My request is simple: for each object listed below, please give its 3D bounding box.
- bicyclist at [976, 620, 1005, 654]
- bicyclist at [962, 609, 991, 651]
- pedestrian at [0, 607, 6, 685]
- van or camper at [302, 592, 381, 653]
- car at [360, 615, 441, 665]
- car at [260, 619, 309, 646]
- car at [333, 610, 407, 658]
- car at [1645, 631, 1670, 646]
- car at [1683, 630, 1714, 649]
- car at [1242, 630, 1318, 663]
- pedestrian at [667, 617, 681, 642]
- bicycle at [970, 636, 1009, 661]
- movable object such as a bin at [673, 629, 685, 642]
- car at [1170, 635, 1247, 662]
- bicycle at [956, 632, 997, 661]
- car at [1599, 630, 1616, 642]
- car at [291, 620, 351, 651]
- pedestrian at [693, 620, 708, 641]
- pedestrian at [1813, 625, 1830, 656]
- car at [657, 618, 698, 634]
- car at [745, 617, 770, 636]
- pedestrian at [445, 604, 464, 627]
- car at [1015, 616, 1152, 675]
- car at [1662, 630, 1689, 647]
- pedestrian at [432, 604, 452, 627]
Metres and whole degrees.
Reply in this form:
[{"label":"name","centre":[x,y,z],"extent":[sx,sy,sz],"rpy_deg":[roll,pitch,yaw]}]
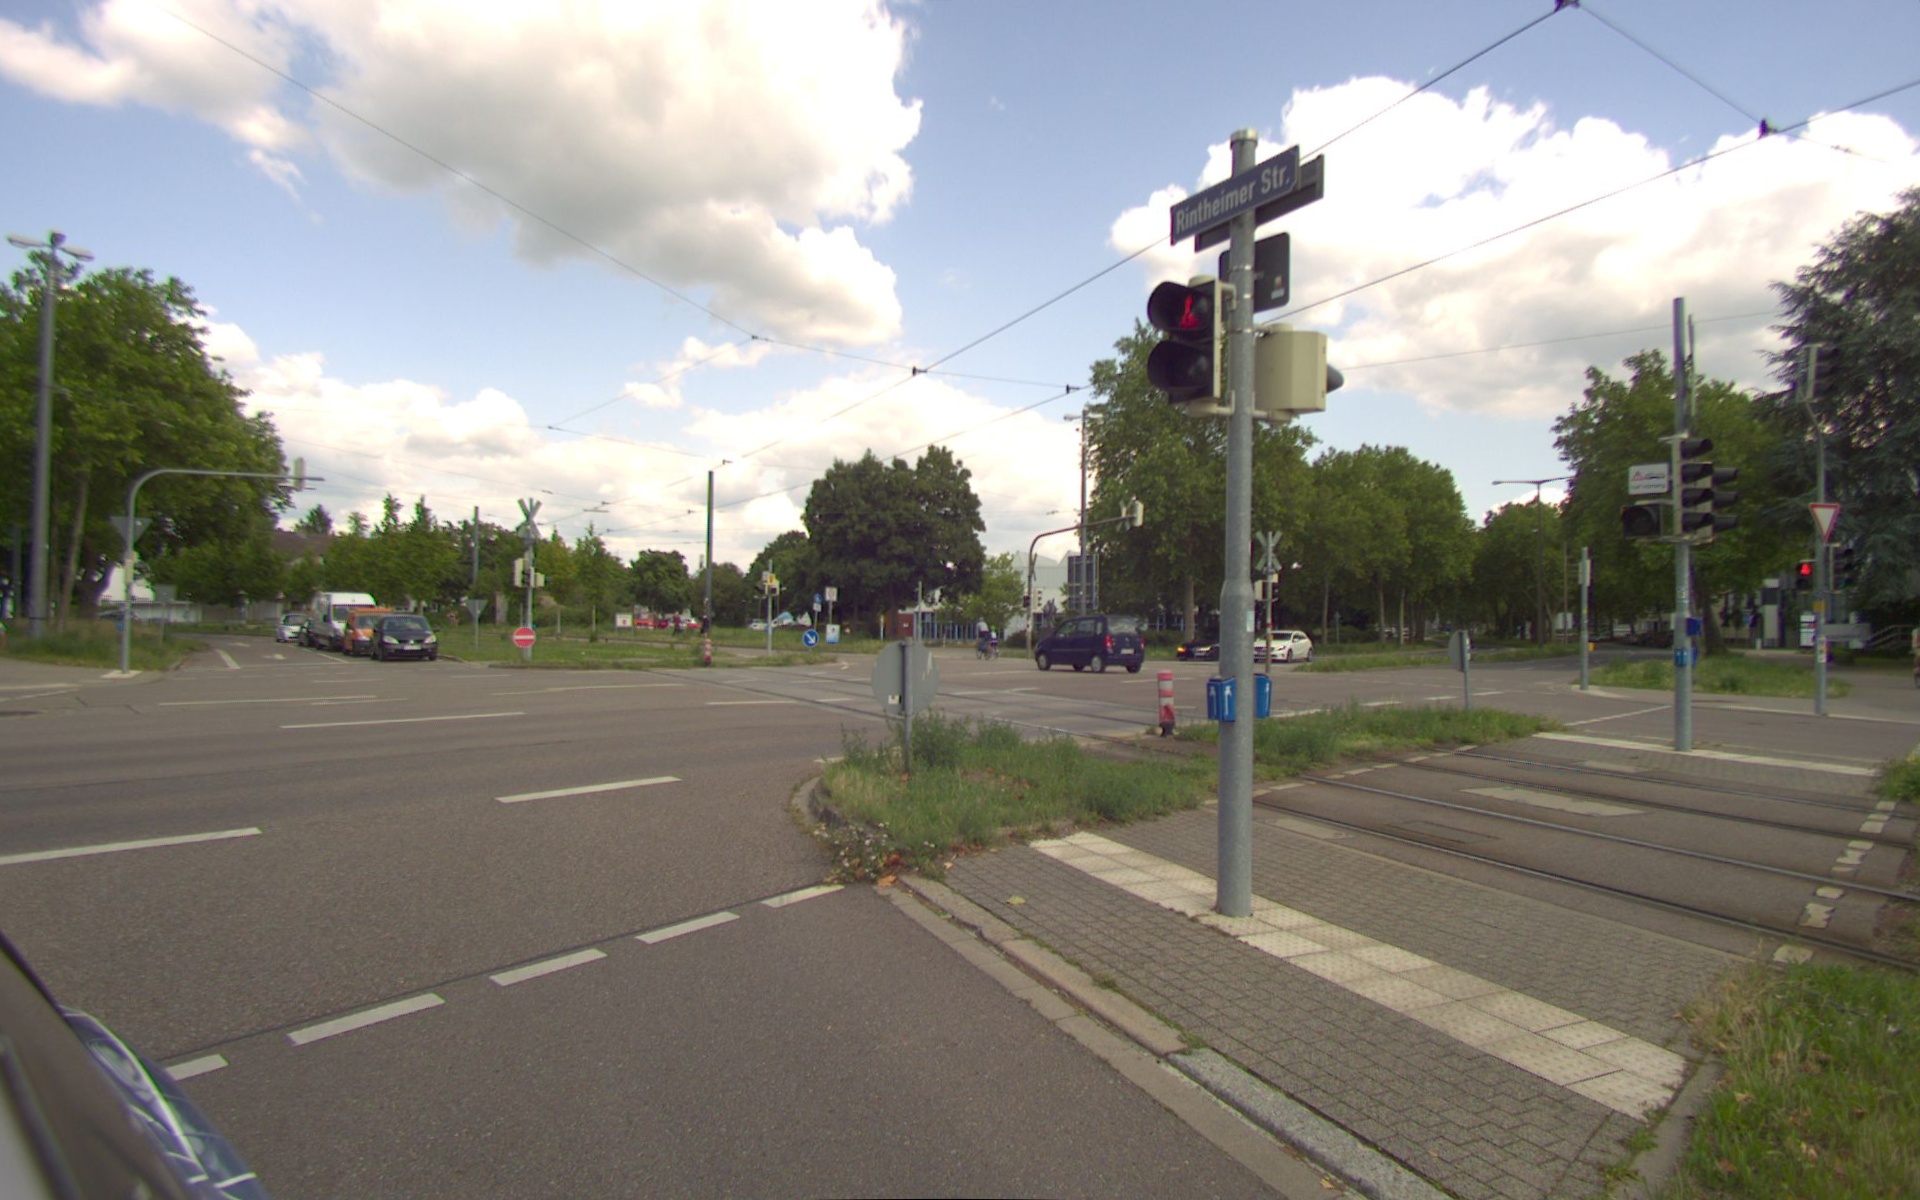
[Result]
[{"label":"bicyclist","centre":[1.333,1.606,44.048],"extent":[0.946,1.500,0.839],"rpy_deg":[1,-2,-25]},{"label":"bicyclist","centre":[0.692,1.277,42.485],"extent":[0.946,1.735,0.839],"rpy_deg":[1,-2,-25]},{"label":"pedestrian","centre":[-20.254,0.955,20.933],"extent":[0.622,1.631,0.612],"rpy_deg":[1,-1,-32]},{"label":"van or camper","centre":[-27.653,1.061,45.173],"extent":[1.951,2.544,6.045],"rpy_deg":[3,-3,-41]},{"label":"car","centre":[-19.387,1.349,34.995],"extent":[1.708,1.643,4.060],"rpy_deg":[2,-2,-39]},{"label":"car","centre":[-37.473,1.776,56.088],"extent":[1.783,1.442,4.390],"rpy_deg":[2,-2,-40]},{"label":"car","centre":[-23.355,1.313,39.987],"extent":[1.854,1.813,4.378],"rpy_deg":[2,-2,-39]},{"label":"car","centre":[78.081,4.275,113.287],"extent":[1.993,1.586,3.958],"rpy_deg":[-1,0,31]},{"label":"car","centre":[69.472,3.706,95.257],"extent":[1.993,1.586,3.958],"rpy_deg":[-1,0,31]},{"label":"car","centre":[14.534,2.075,45.868],"extent":[1.830,1.375,4.081],"rpy_deg":[-1,-2,41]},{"label":"pedestrian","centre":[-18.711,1.922,66.219],"extent":[0.637,1.657,0.606],"rpy_deg":[-1,0,35]},{"label":"bicycle","centre":[1.277,2.115,44.142],"extent":[0.935,1.048,1.990],"rpy_deg":[1,-2,-25]},{"label":"movable object such as a bin","centre":[-18.319,2.324,65.938],"extent":[0.458,0.817,0.572],"rpy_deg":[-1,0,34]},{"label":"car","centre":[11.636,2.255,47.292],"extent":[3.650,1.201,1.643],"rpy_deg":[2,-2,-40]},{"label":"bicycle","centre":[0.664,1.947,42.507],"extent":[0.935,1.163,1.990],"rpy_deg":[1,-2,-25]},{"label":"car","centre":[95.361,5.314,149.083],"extent":[1.993,1.586,3.958],"rpy_deg":[-1,0,31]},{"label":"car","centre":[-31.774,1.741,50.276],"extent":[1.783,1.442,4.475],"rpy_deg":[2,-2,-41]},{"label":"pedestrian","centre":[-17.087,2.017,66.652],"extent":[0.641,1.364,0.753],"rpy_deg":[-1,0,-41]},{"label":"pedestrian","centre":[44.891,2.104,52.752],"extent":[0.622,1.581,0.551],"rpy_deg":[-1,0,43]},{"label":"car","centre":[-28.466,2.625,102.000],"extent":[3.932,1.541,2.006],"rpy_deg":[1,-2,-15]},{"label":"car","centre":[-18.628,2.424,92.939],"extent":[1.966,1.652,4.403],"rpy_deg":[1,-1,-16]},{"label":"pedestrian","centre":[-45.389,1.397,90.857],"extent":[1.174,2.029,1.094],"rpy_deg":[0,-2,34]},{"label":"car","centre":[3.559,1.286,29.773],"extent":[1.699,1.629,4.008],"rpy_deg":[2,-2,-37]},{"label":"car","centre":[74.670,3.979,105.627],"extent":[1.993,1.586,3.958],"rpy_deg":[-1,0,31]},{"label":"pedestrian","centre":[-46.018,1.353,89.896],"extent":[1.174,2.029,1.093],"rpy_deg":[-1,-2,35]}]
